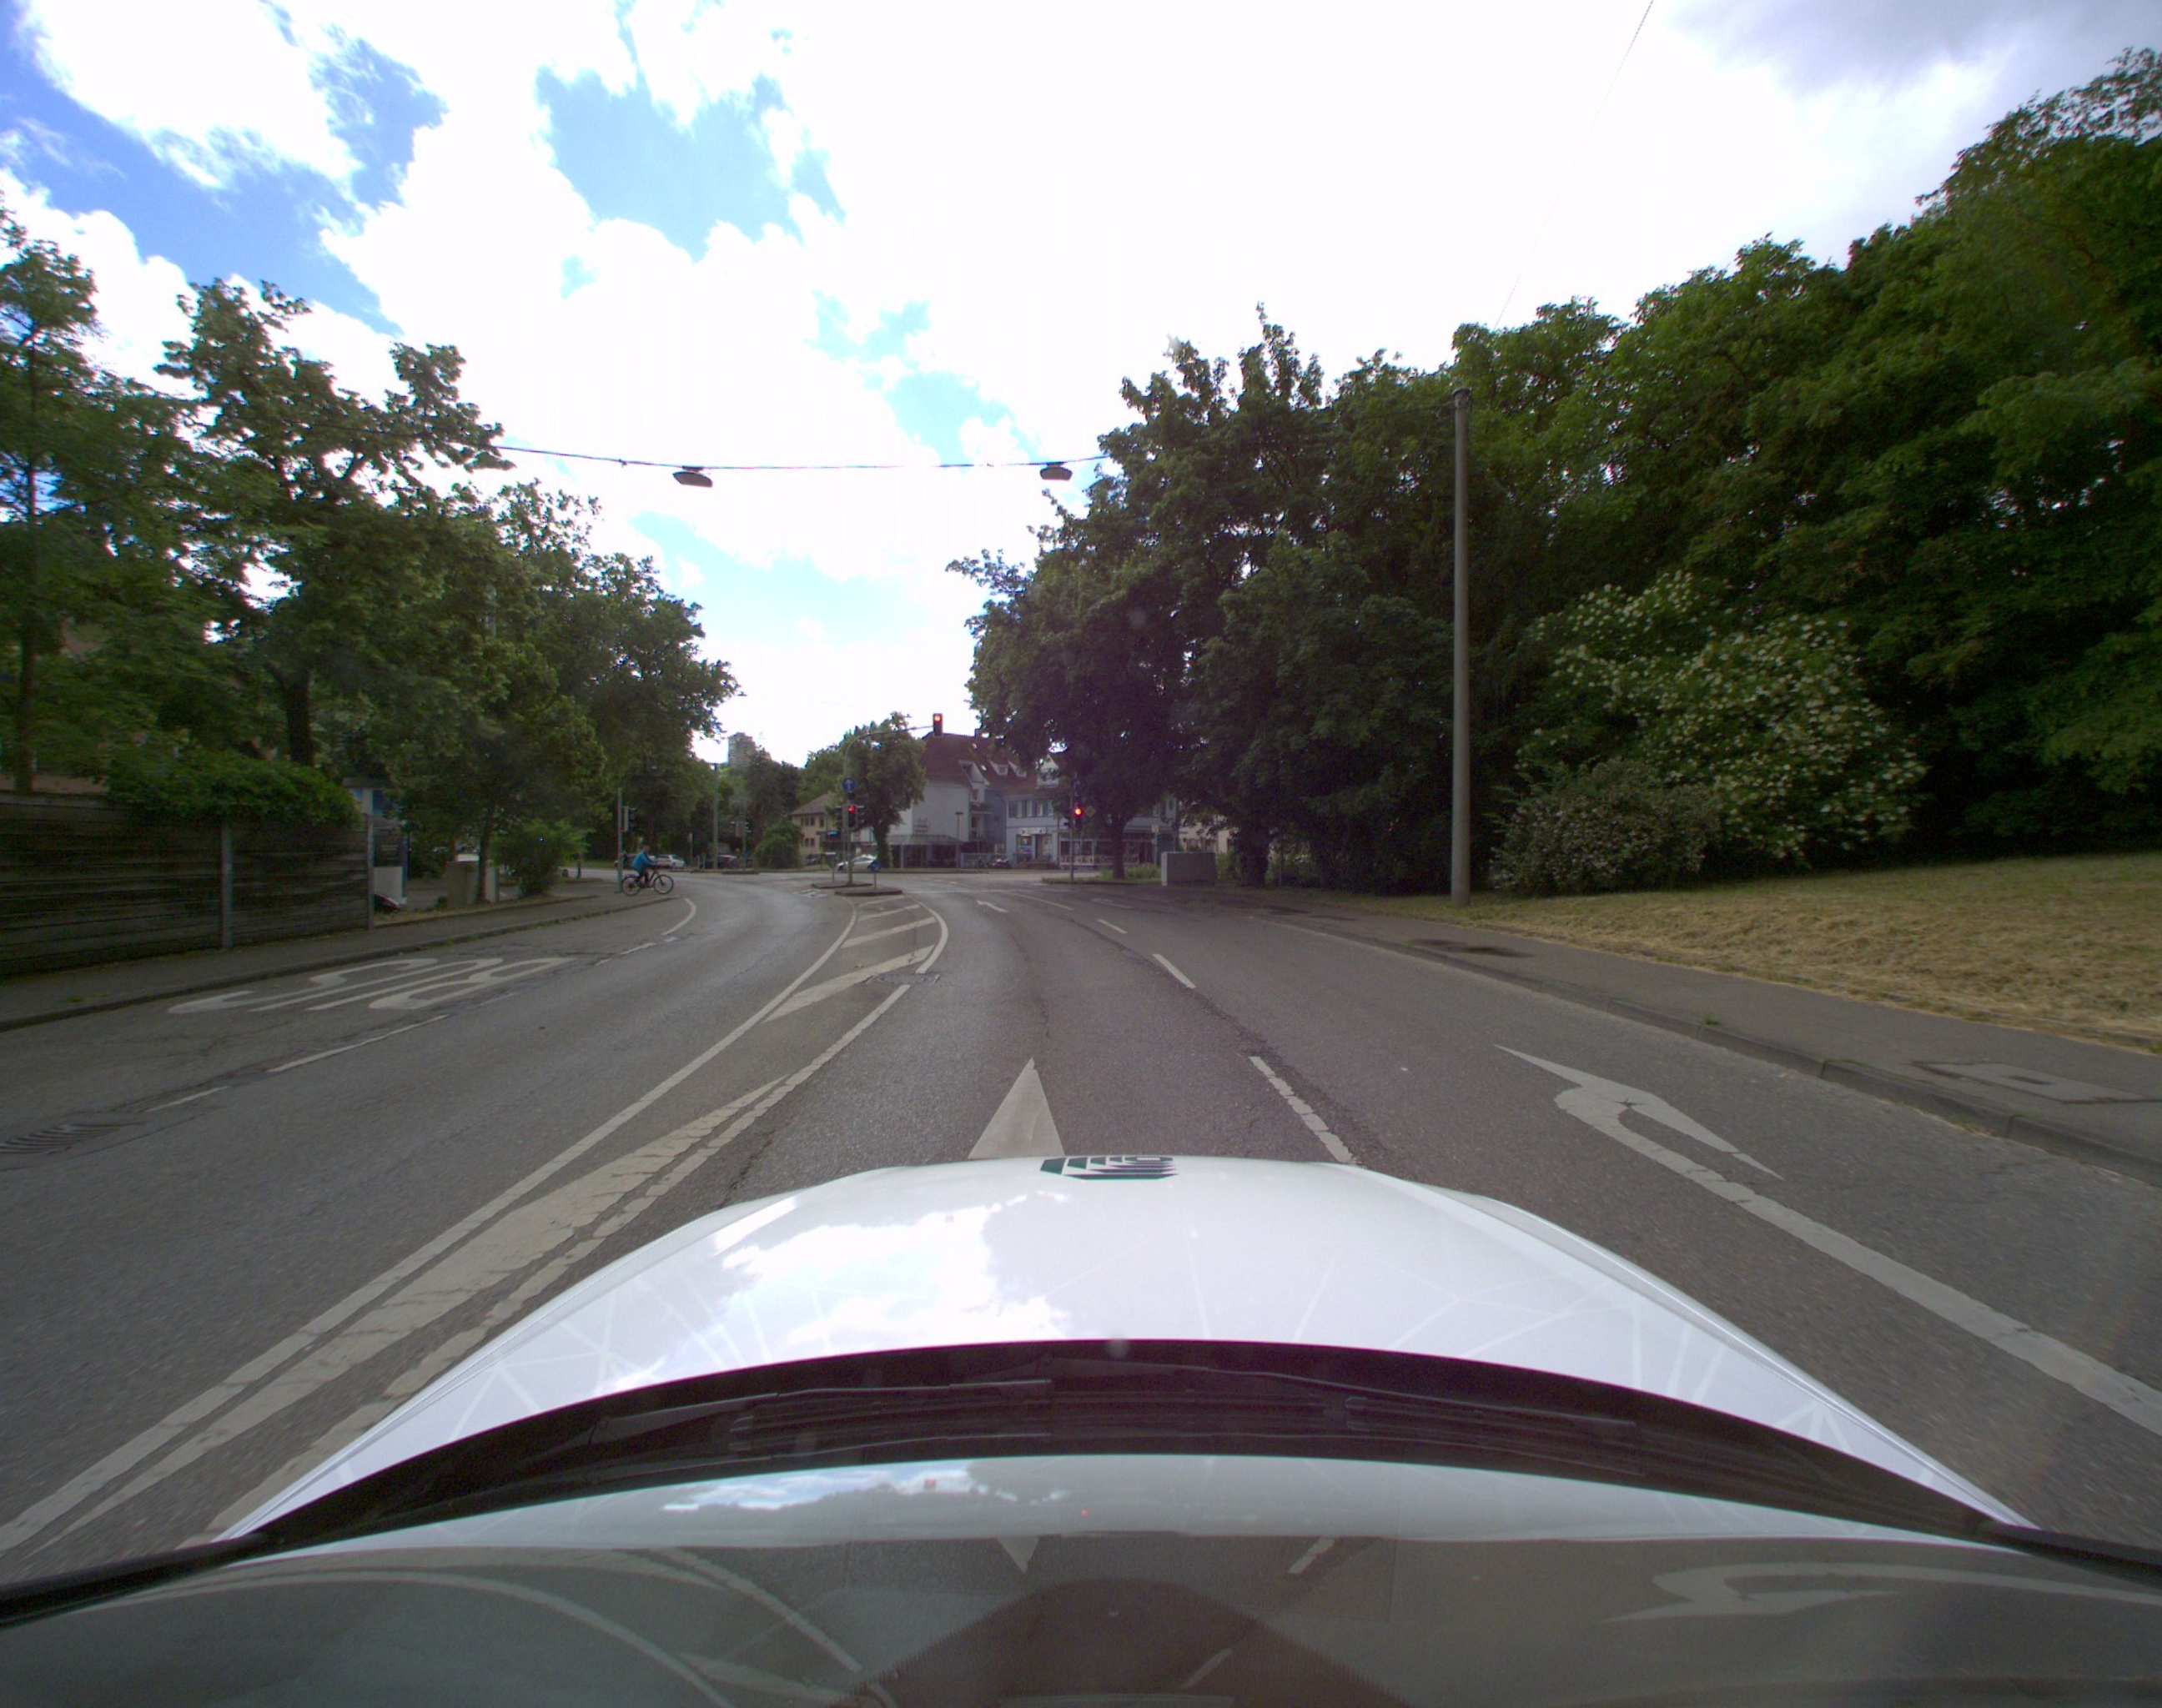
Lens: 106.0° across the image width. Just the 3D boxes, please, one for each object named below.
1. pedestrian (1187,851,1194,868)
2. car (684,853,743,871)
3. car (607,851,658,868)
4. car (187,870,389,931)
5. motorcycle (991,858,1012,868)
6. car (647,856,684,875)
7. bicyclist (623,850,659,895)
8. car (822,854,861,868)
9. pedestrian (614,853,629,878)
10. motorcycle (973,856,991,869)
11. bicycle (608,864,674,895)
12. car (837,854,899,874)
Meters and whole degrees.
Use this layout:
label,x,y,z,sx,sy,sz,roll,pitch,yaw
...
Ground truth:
label,x,y,z,sx,sy,sz,roll,pitch,yaw
pedestrian,10.314,0.532,76.842,0.494,1.552,0.407,-1,0,44
car,-32.732,0.733,72.510,4.542,1.517,2.009,-1,0,17
car,-44.027,0.544,80.039,3.962,1.574,2.006,-1,0,10
car,-21.087,1.177,21.777,1.714,1.373,3.715,-1,0,40
motorcycle,-7.209,0.809,74.013,1.821,0.848,0.563,-1,5,19
car,-42.415,1.155,83.287,1.990,1.772,3.993,-1,0,-5
bicyclist,-16.083,0.653,29.797,1.105,1.599,0.933,0,0,-27
car,-28.032,0.830,95.354,4.018,1.486,1.740,-1,0,-37
pedestrian,-41.082,1.024,72.811,0.850,2.178,0.780,-1,0,20
motorcycle,-9.165,0.741,75.277,1.484,1.106,0.563,-2,5,15
bicycle,-16.074,0.902,29.805,2.081,1.082,0.933,0,0,-27
car,-17.815,0.811,68.171,4.542,1.517,2.009,-1,0,17
